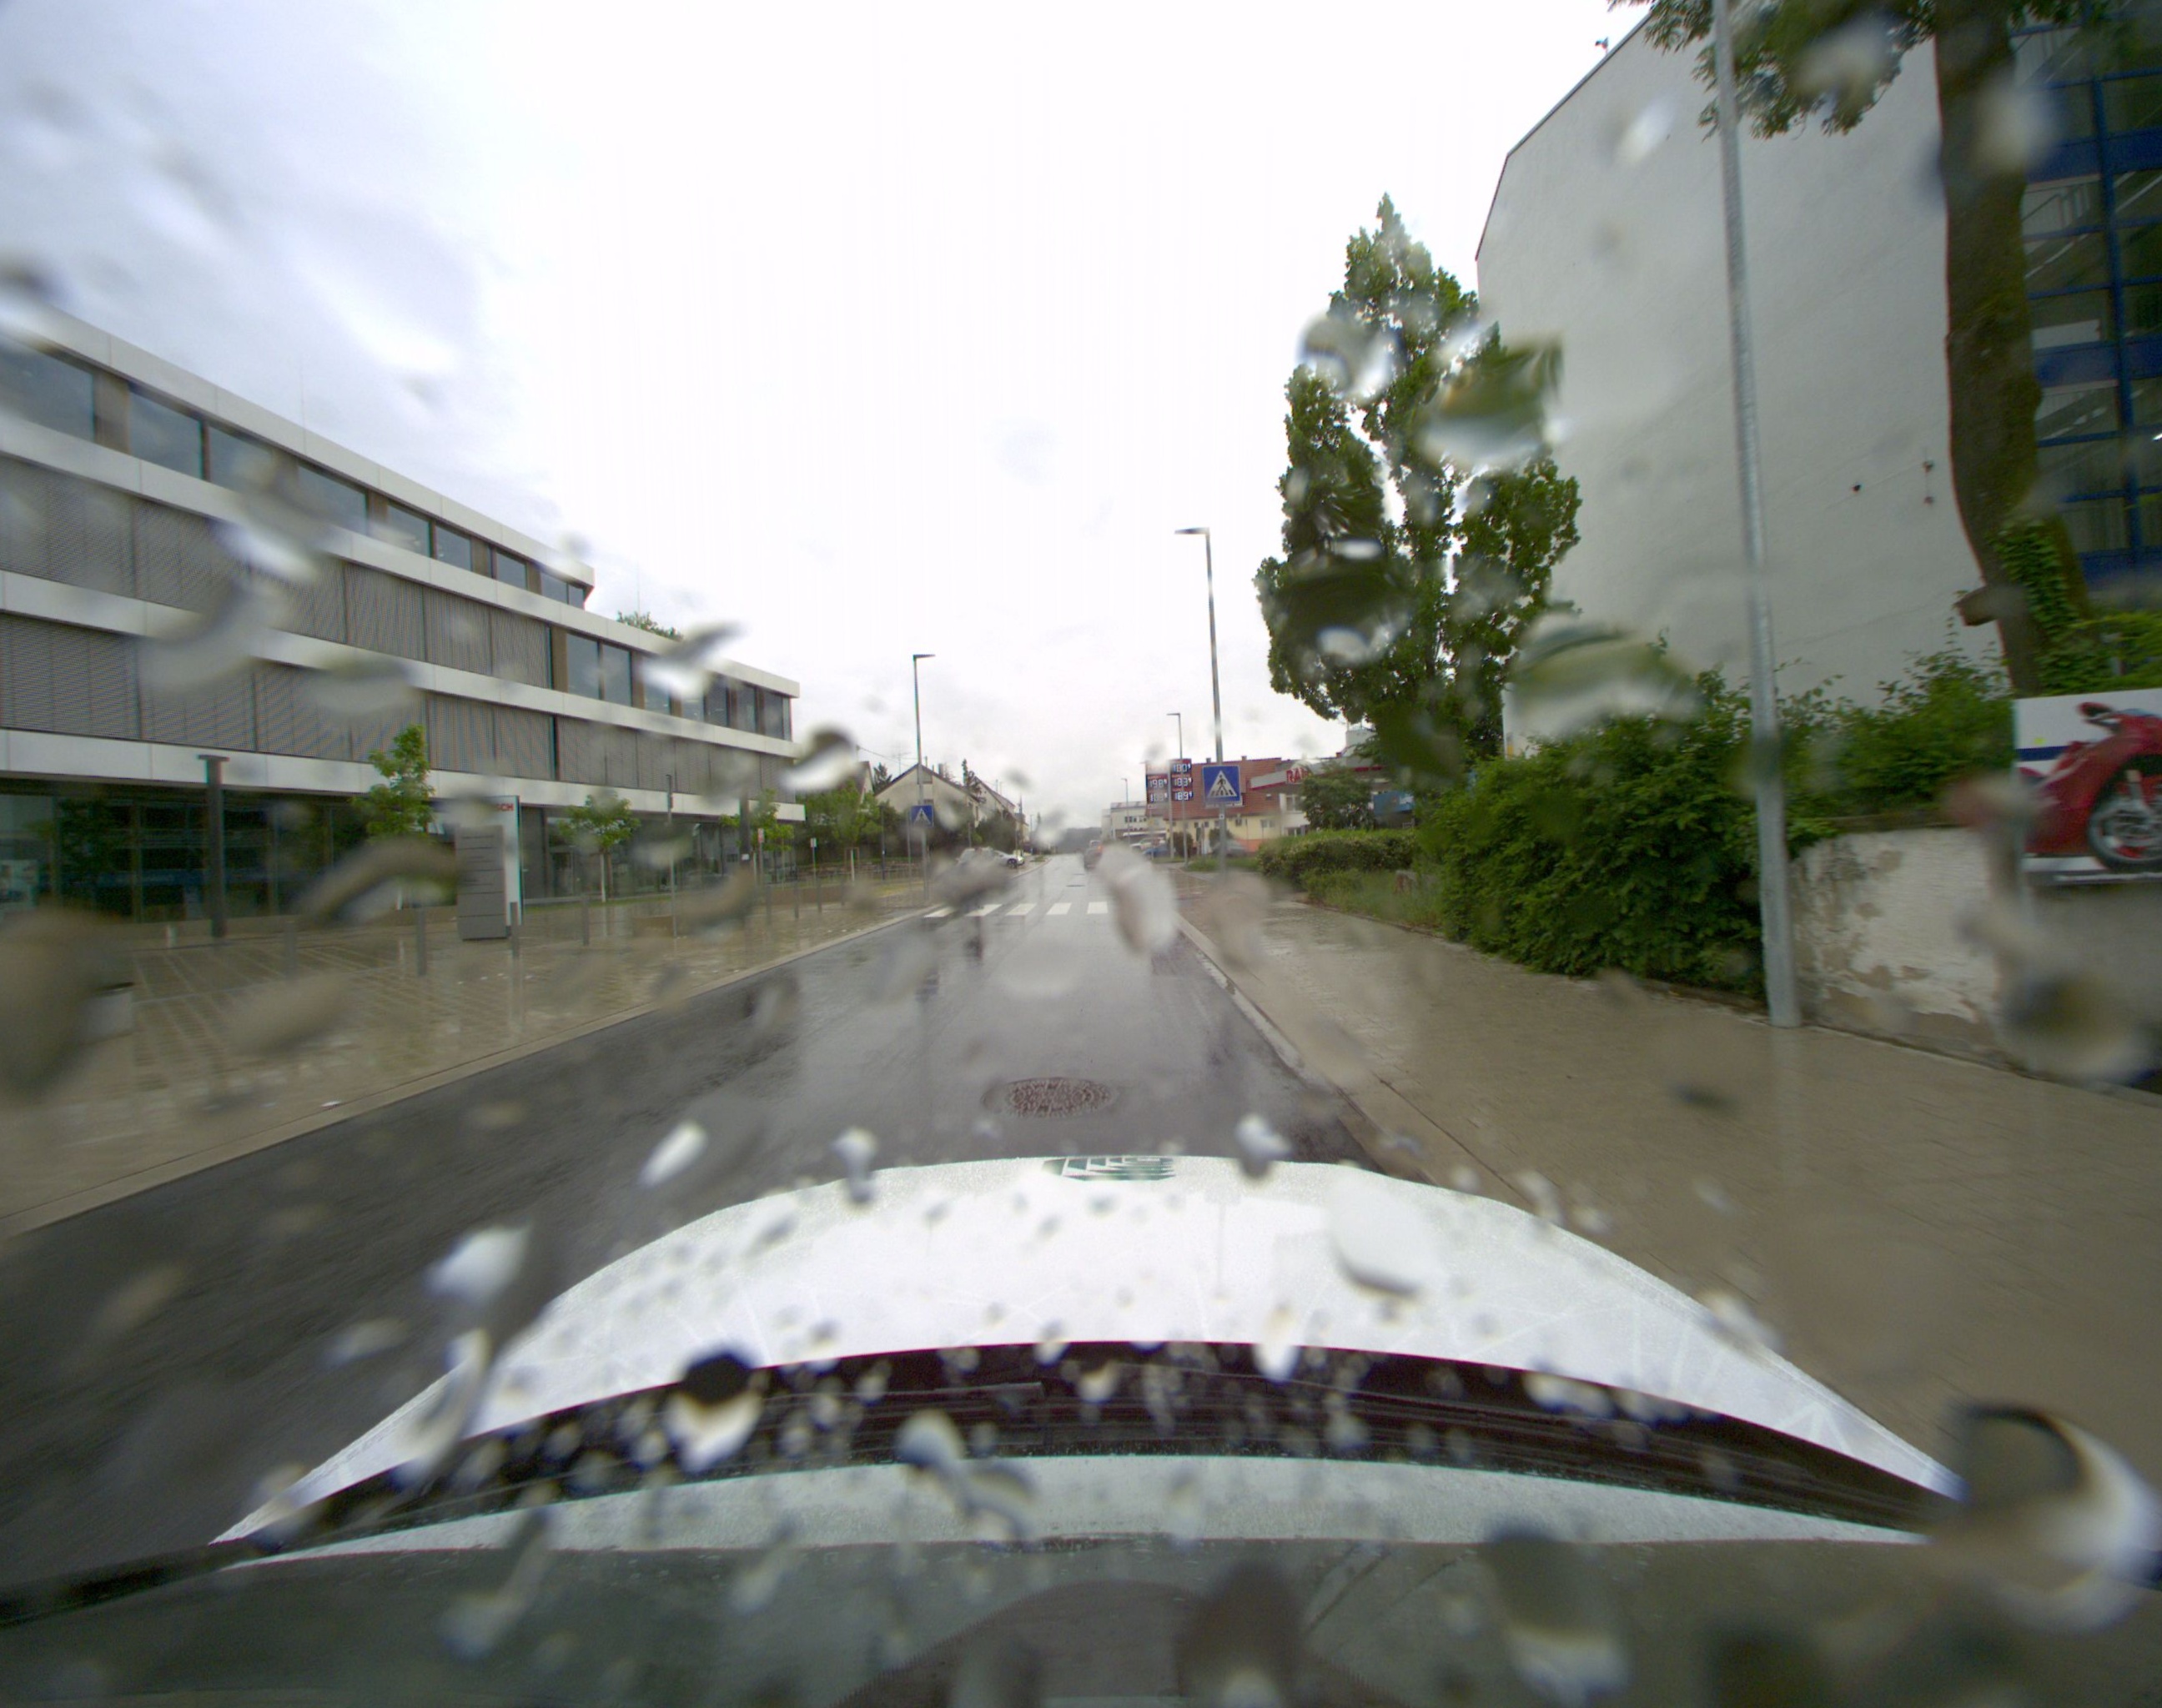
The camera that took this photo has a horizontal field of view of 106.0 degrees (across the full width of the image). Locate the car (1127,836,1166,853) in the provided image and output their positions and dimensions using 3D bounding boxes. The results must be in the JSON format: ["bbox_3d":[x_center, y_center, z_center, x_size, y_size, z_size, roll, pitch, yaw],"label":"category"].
[{"bbox_3d":[7.304,-1.021,90.979,4.102,1.706,1.787,1,-2,-2],"label":"car"}]

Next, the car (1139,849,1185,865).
[{"bbox_3d":[7.727,0.303,77.749,3.954,1.493,1.866,1,-2,19],"label":"car"}]

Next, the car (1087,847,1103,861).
[{"bbox_3d":[1.839,0.005,106.892,1.986,1.706,4.000,1,-2,1],"label":"car"}]

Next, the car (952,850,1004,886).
[{"bbox_3d":[-5.208,0.663,41.613,1.986,1.629,4.154,-3,0,1],"label":"car"}]

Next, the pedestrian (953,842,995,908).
[{"bbox_3d":[-2.892,0.550,22.088,1.010,1.724,0.772,-2,0,-2],"label":"pedestrian"}]

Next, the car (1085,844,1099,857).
[{"bbox_3d":[1.683,-0.504,119.794,1.986,1.706,4.000,1,-2,1],"label":"car"}]

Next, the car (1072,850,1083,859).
[{"bbox_3d":[-0.667,0.090,168.474,2.146,1.706,4.000,1,-2,1],"label":"car"}]

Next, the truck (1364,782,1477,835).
[{"bbox_3d":[25.195,-3.285,60.457,7.732,3.445,2.667,2,-2,-14],"label":"truck"}]

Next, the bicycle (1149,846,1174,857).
[{"bbox_3d":[8.336,-0.236,84.408,0.672,1.067,3.594,2,-2,-30],"label":"bicycle"}]

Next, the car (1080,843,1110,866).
[{"bbox_3d":[1.082,0.094,60.525,1.939,1.556,4.005,1,-2,5],"label":"car"}]

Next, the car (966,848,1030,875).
[{"bbox_3d":[-6.498,0.621,64.109,4.734,2.014,2.001,1,-2,2],"label":"car"}]

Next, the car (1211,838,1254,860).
[{"bbox_3d":[11.651,-0.359,63.037,1.994,1.552,3.985,1,-2,-10],"label":"car"}]
